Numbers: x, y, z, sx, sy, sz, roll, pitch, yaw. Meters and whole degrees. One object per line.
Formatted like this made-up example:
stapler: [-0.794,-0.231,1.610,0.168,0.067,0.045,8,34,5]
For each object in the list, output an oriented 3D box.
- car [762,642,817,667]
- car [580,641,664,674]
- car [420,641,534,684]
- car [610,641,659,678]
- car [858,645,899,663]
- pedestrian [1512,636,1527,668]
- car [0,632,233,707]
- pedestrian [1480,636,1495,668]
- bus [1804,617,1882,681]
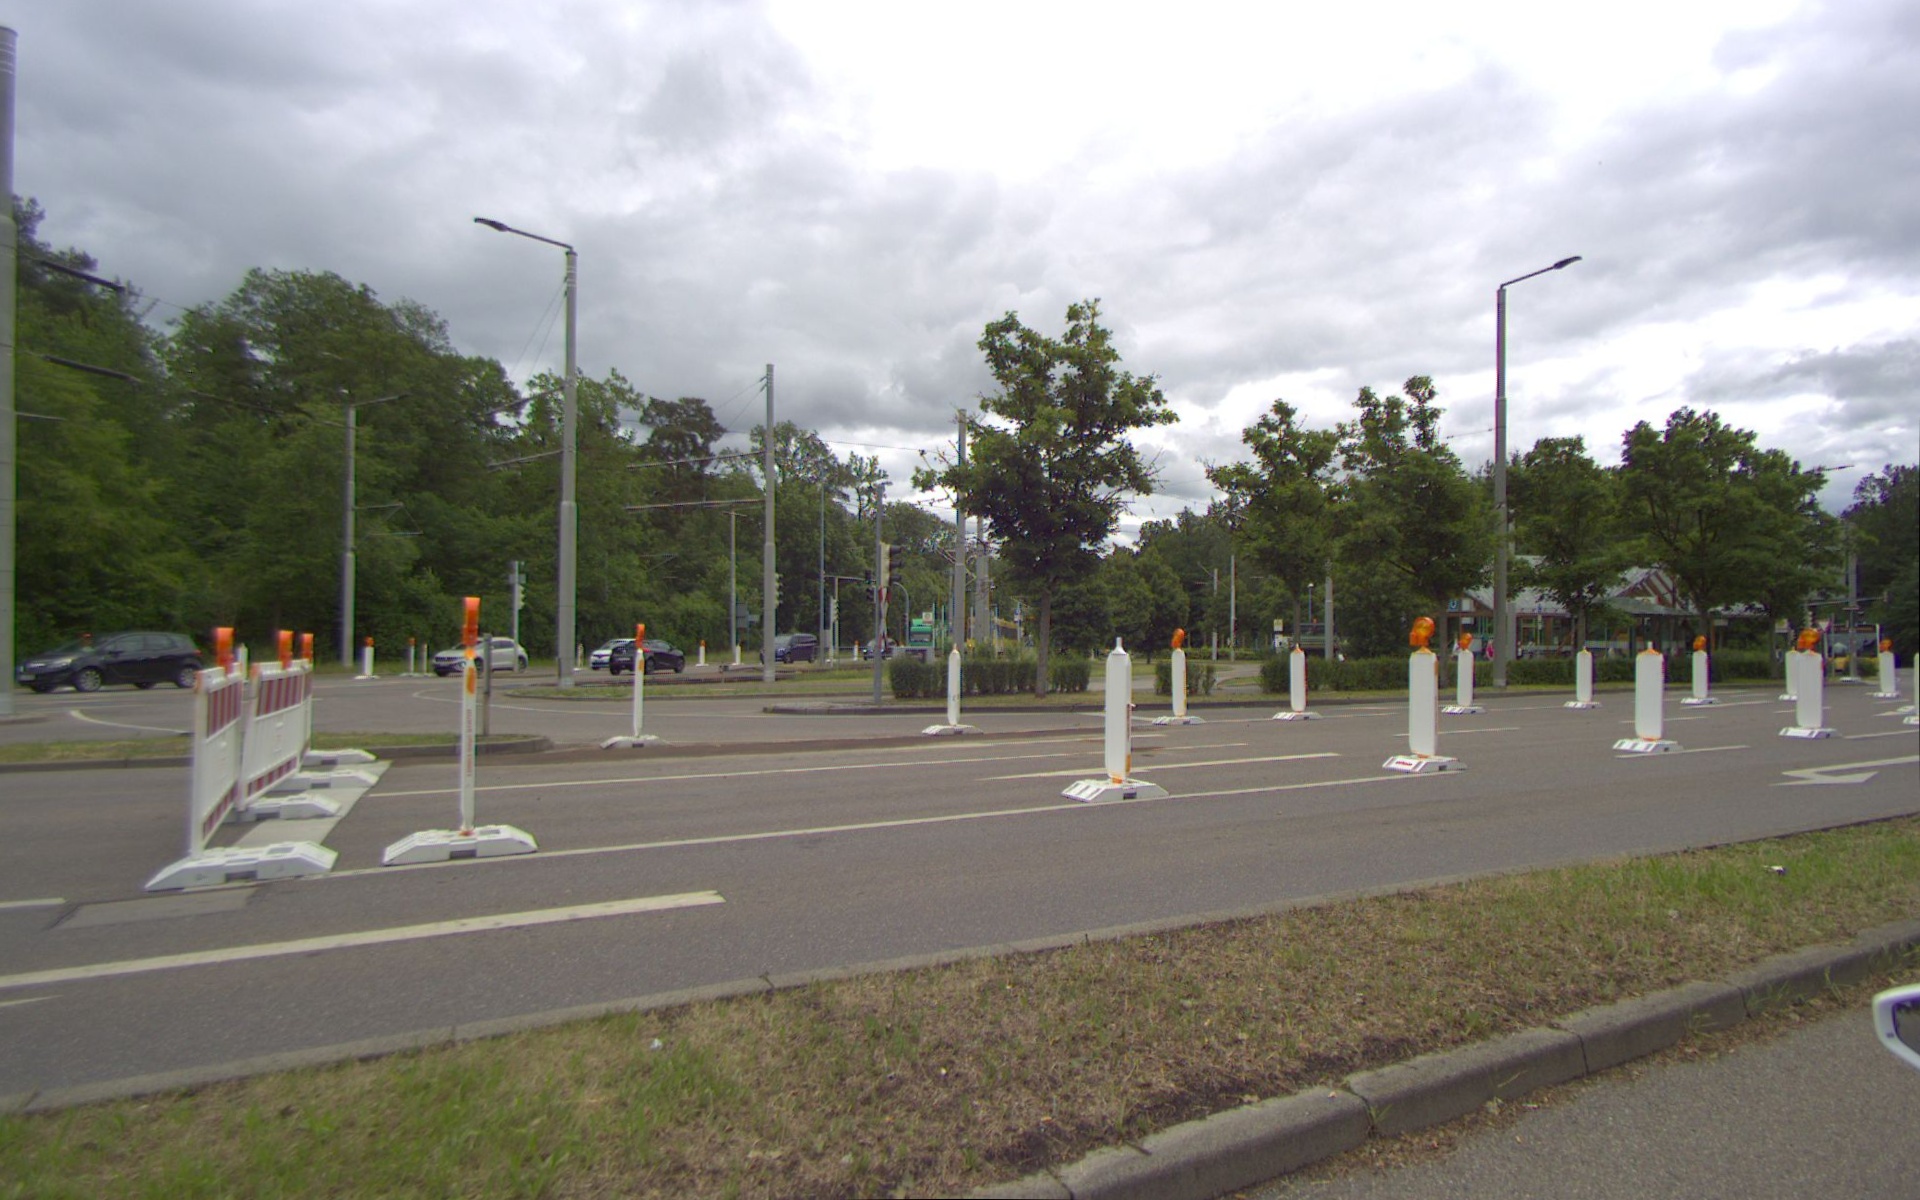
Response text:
car: [-11.122,3.549,65.740,1.929,1.560,4.313,-1,-2,15]
car: [-17.026,2.880,50.780,1.929,1.561,4.399,-1,-2,15]
car: [-19.847,2.537,41.505,1.929,1.628,4.313,-1,-2,15]
car: [-12.892,2.340,39.654,1.752,1.379,3.462,0,-3,-19]
car: [-6.489,4.299,80.655,1.929,1.379,4.313,-1,-2,15]
pedestrian: [28.964,2.707,51.994,0.482,1.647,0.562,0,-1,6]
car: [-22.995,1.843,27.631,1.929,1.869,4.693,-1,-2,15]
pedestrian: [27.455,2.714,52.277,0.482,1.647,0.562,0,-1,6]
bus: [55.199,2.974,63.075,2.787,3.650,12.752,-1,-2,38]
